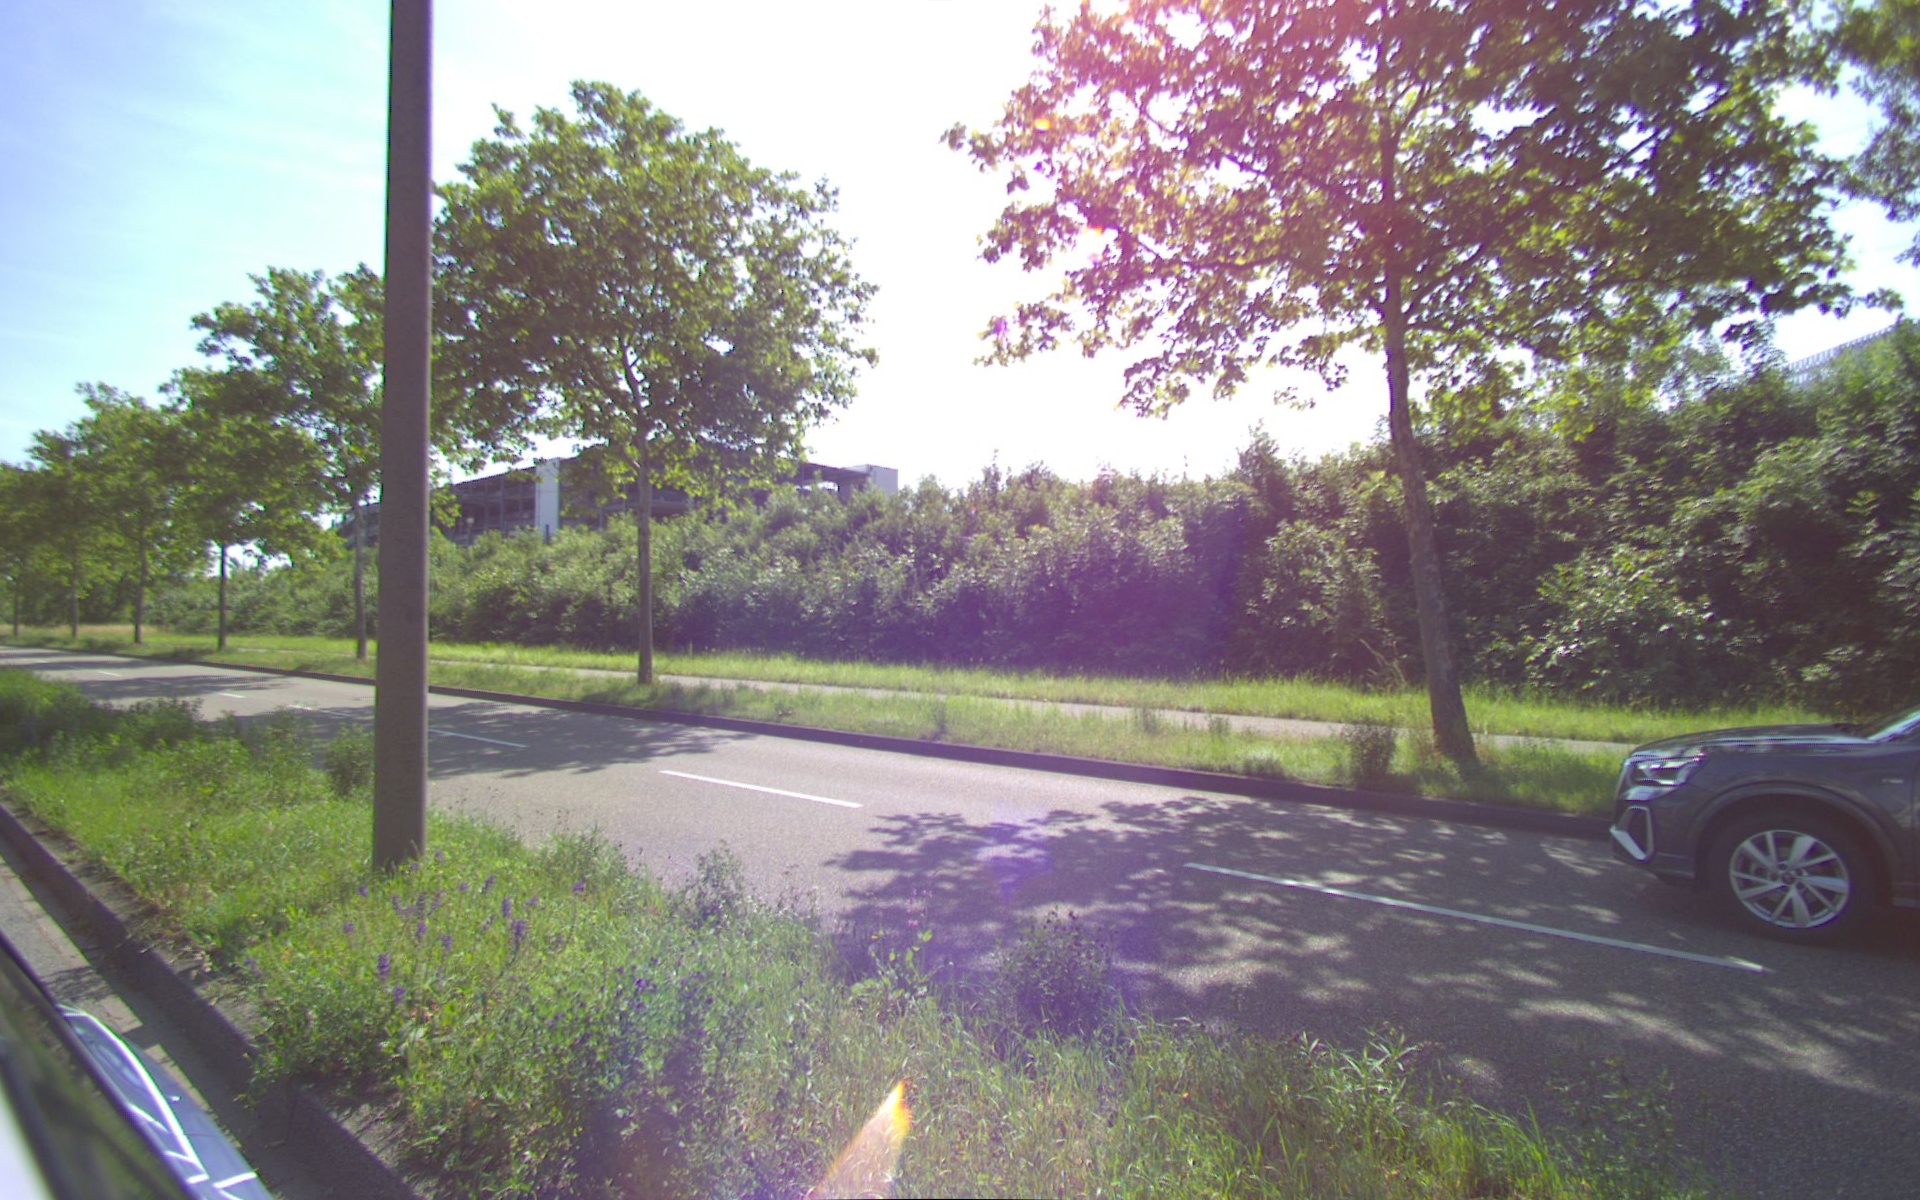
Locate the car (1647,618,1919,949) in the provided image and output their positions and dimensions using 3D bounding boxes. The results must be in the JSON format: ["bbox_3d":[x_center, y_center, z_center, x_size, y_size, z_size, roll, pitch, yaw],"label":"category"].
[{"bbox_3d":[5.664,0.894,4.706,3.935,1.478,1.844,0,-3,40],"label":"car"}]
